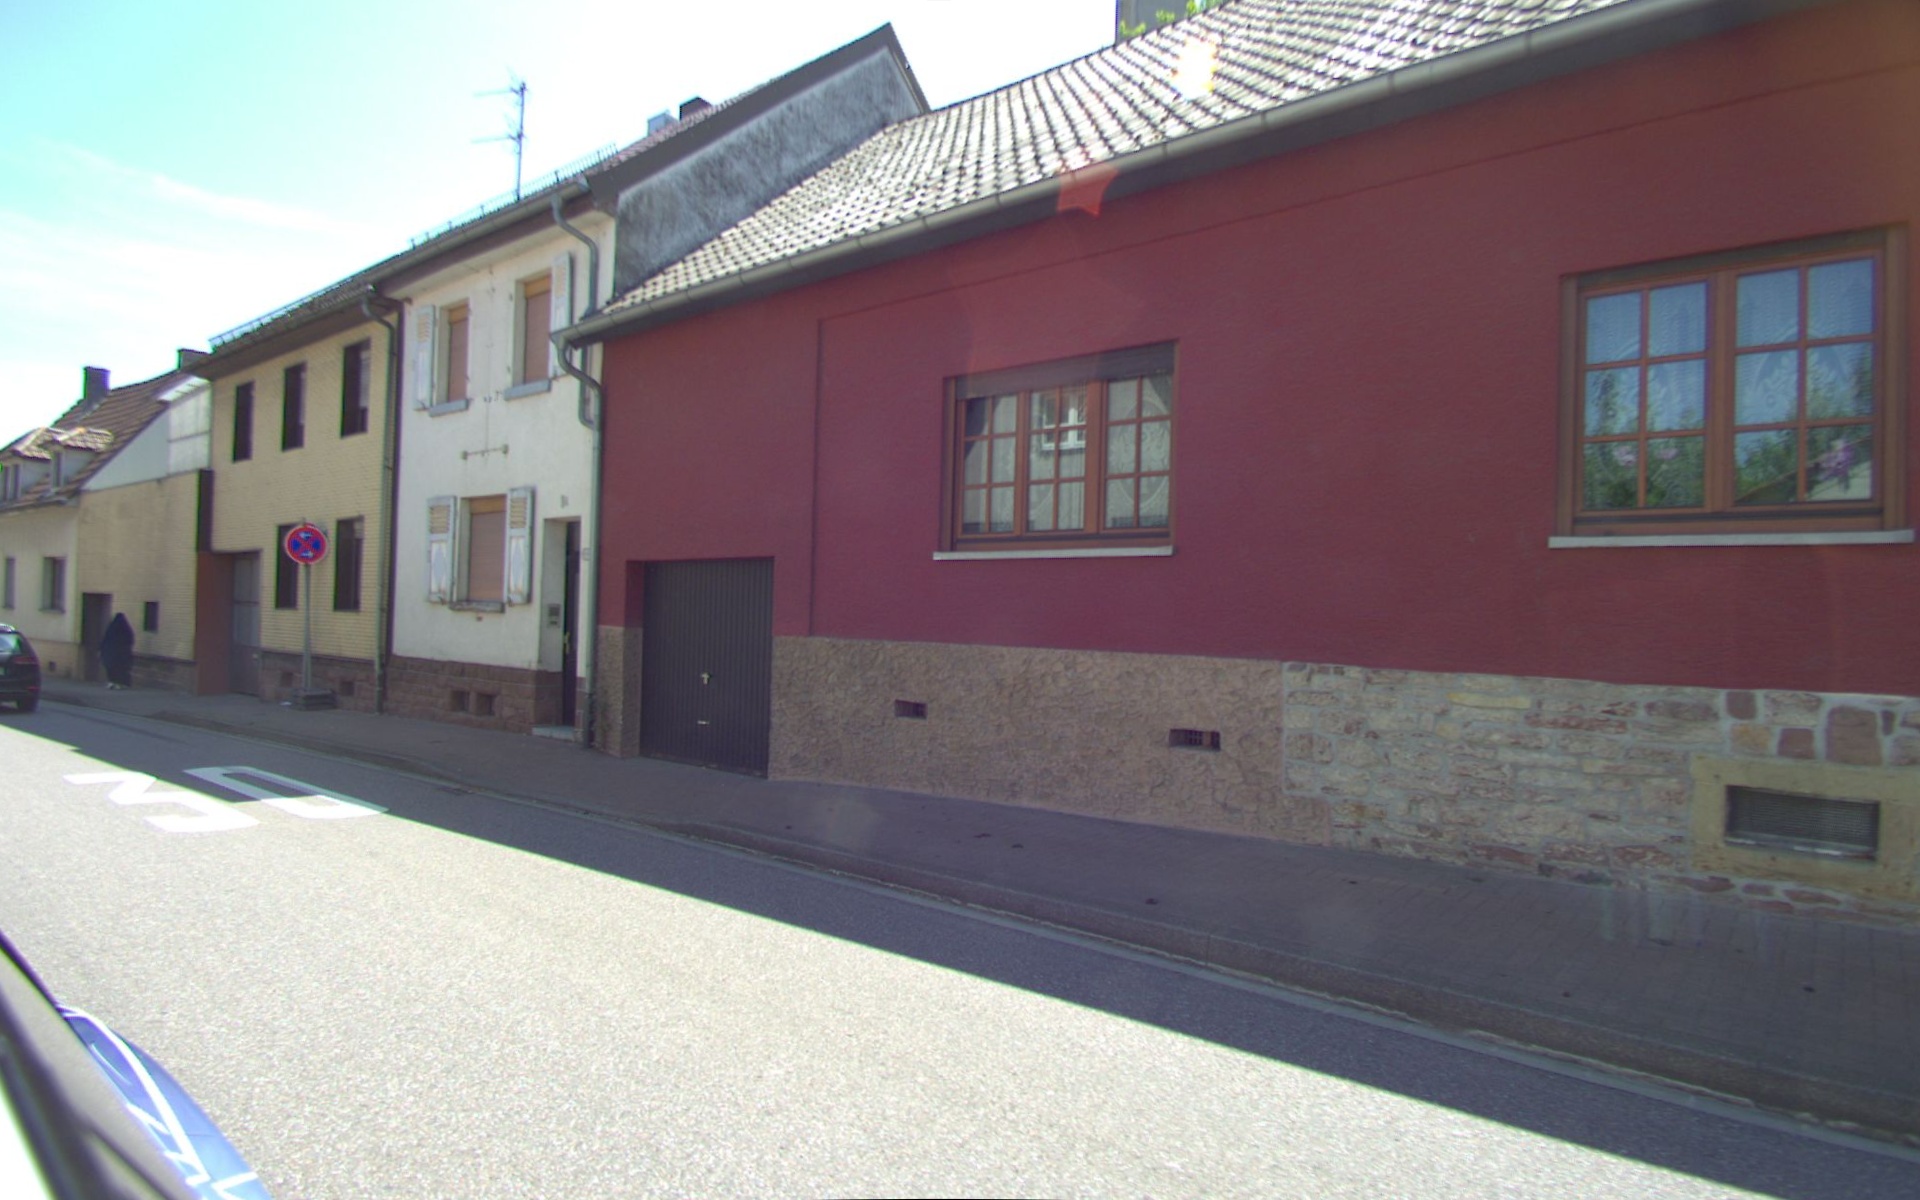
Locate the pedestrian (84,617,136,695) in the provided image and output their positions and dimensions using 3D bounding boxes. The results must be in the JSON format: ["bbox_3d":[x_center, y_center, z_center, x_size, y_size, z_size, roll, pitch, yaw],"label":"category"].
[{"bbox_3d":[-17.609,1.137,20.966,0.754,1.576,0.655,0,-1,38],"label":"pedestrian"}]

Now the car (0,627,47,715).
[{"bbox_3d":[-17.293,1.153,17.305,4.192,1.420,1.679,-1,-3,37],"label":"car"}]
